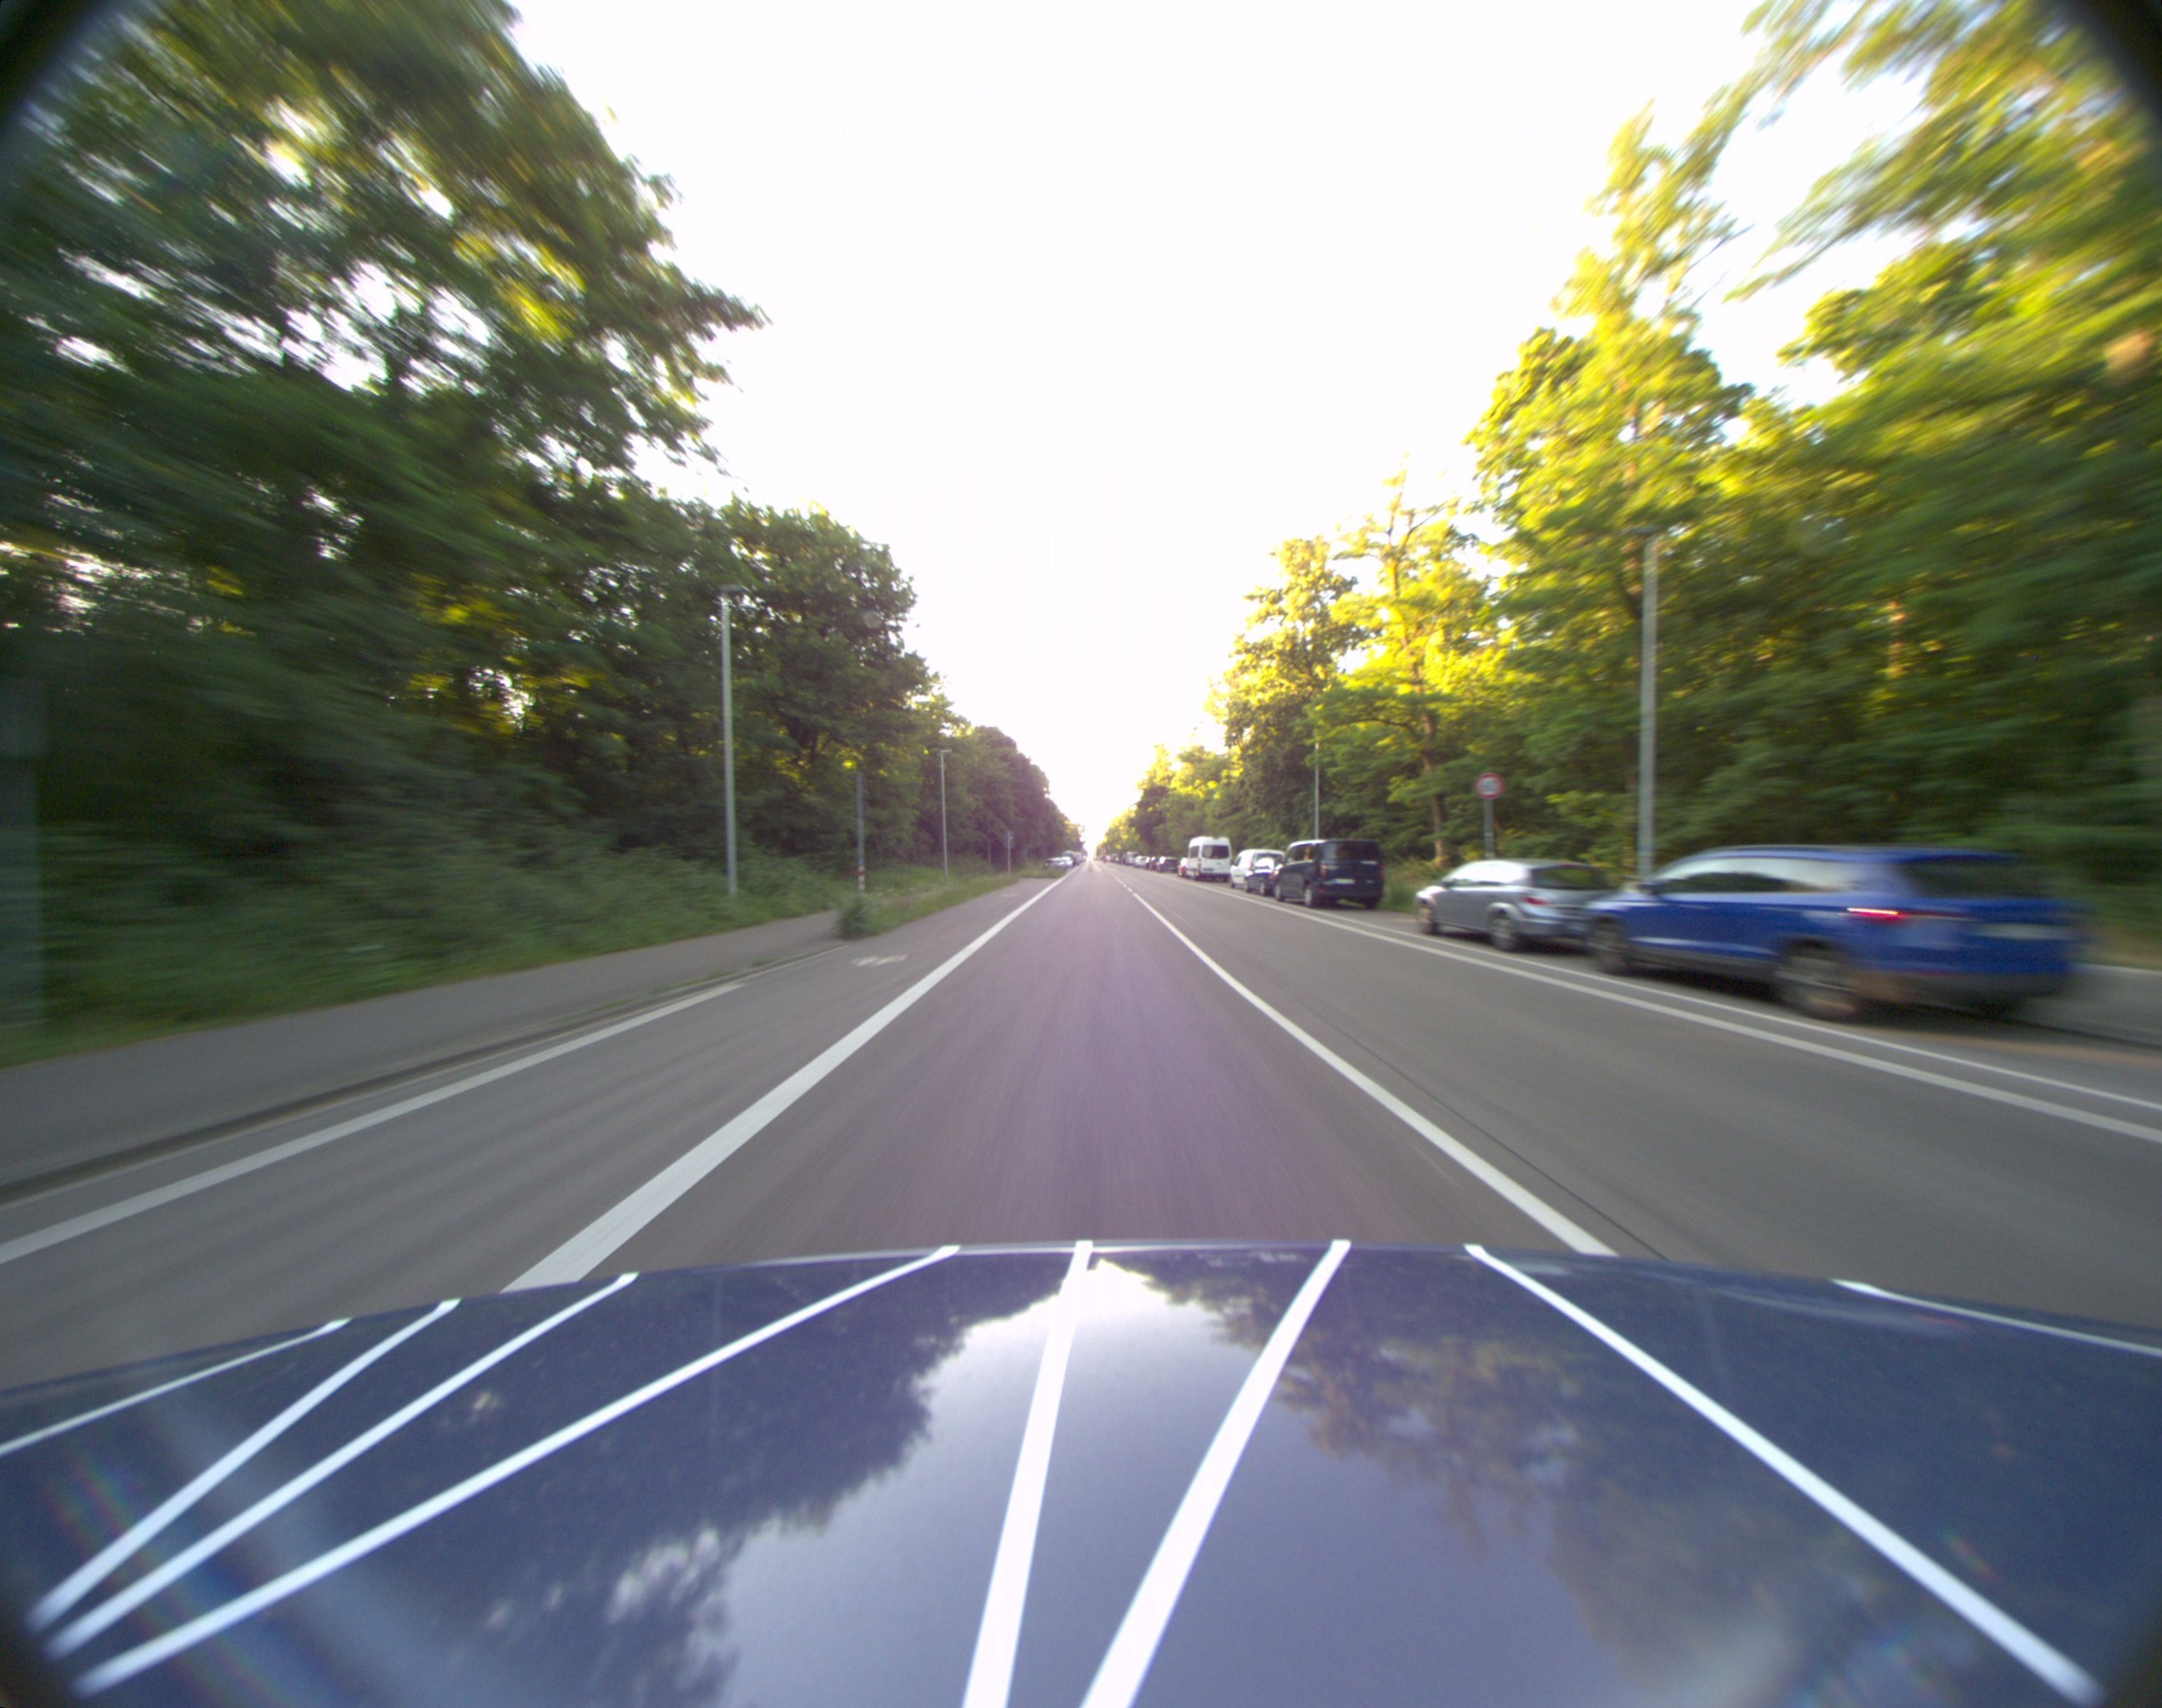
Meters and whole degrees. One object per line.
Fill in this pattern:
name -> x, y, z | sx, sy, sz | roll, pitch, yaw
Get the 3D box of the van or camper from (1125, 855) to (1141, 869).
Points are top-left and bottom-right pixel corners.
van or camper -> 8.964, 1.339, 131.707 | 2.116, 2.376, 6.381 | 2, 0, 0

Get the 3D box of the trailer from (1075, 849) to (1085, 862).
trailer -> -0.135, 0.272, 151.309 | 1.866, 2.633, 4.270 | -2, 0, 1

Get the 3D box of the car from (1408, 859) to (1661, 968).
car -> 7.298, 0.852, 12.818 | 1.673, 1.492, 4.245 | 1, 0, -1

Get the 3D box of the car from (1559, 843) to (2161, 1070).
car -> 7.375, 0.774, 7.999 | 1.749, 1.702, 4.522 | 1, 0, -1

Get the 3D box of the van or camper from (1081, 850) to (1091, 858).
van or camper -> 1.596, 0.017, 236.340 | 3.015, 2.703, 6.960 | 0, 0, 1

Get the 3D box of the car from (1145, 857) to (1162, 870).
car -> 8.268, 1.059, 86.808 | 1.601, 1.386, 4.052 | 0, 0, 0

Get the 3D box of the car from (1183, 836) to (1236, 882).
car -> 7.865, 0.306, 47.117 | 2.084, 2.591, 7.089 | 2, 0, 1

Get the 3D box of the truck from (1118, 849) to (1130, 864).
truck -> 9.275, 0.541, 164.592 | 2.226, 3.188, 6.271 | 2, 0, 0

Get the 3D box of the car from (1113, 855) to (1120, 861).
car -> 8.620, 0.925, 182.190 | 1.606, 1.495, 3.760 | 2, 0, 3

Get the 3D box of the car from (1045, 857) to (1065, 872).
car -> -2.601, 1.046, 76.686 | 1.715, 1.436, 4.123 | -2, 0, 1

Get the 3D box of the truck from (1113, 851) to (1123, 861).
truck -> 11.513, 0.599, 235.819 | 2.654, 3.038, 5.801 | -2, 0, 1

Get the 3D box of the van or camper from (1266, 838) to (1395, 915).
van or camper -> 7.397, 0.610, 23.228 | 2.008, 2.006, 5.460 | 2, 0, -1

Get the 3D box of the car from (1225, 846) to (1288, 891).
car -> 7.971, 0.621, 34.859 | 1.692, 1.847, 4.386 | -2, 0, -2

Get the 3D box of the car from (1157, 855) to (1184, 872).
car -> 8.268, 0.845, 70.536 | 1.850, 1.454, 4.229 | 1, 0, -2

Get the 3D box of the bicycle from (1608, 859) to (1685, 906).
bicycle -> 12.569, 0.609, 16.950 | 0.454, 0.969, 1.718 | 0, 0, 0

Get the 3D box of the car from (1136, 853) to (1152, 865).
car -> 8.644, 0.716, 104.094 | 1.699, 1.636, 4.572 | 1, 0, -1

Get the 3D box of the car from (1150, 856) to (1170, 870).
car -> 8.349, 0.955, 80.622 | 1.716, 1.500, 3.657 | 1, 0, 0

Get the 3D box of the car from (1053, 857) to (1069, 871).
car -> -2.258, 1.090, 87.313 | 1.693, 1.537, 4.112 | -1, 0, 1

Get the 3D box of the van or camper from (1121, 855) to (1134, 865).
van or camper -> 9.234, 1.160, 151.389 | 2.034, 1.945, 4.692 | 2, 0, -2

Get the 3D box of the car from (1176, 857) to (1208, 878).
car -> 7.749, 0.902, 53.332 | 1.720, 1.422, 4.388 | 0, 0, 2

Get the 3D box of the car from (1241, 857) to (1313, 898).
car -> 7.514, 0.864, 29.487 | 1.674, 1.424, 4.447 | 1, 0, 1

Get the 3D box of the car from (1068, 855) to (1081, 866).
car -> -1.002, 1.013, 110.564 | 1.848, 1.484, 4.759 | -2, -1, -1
